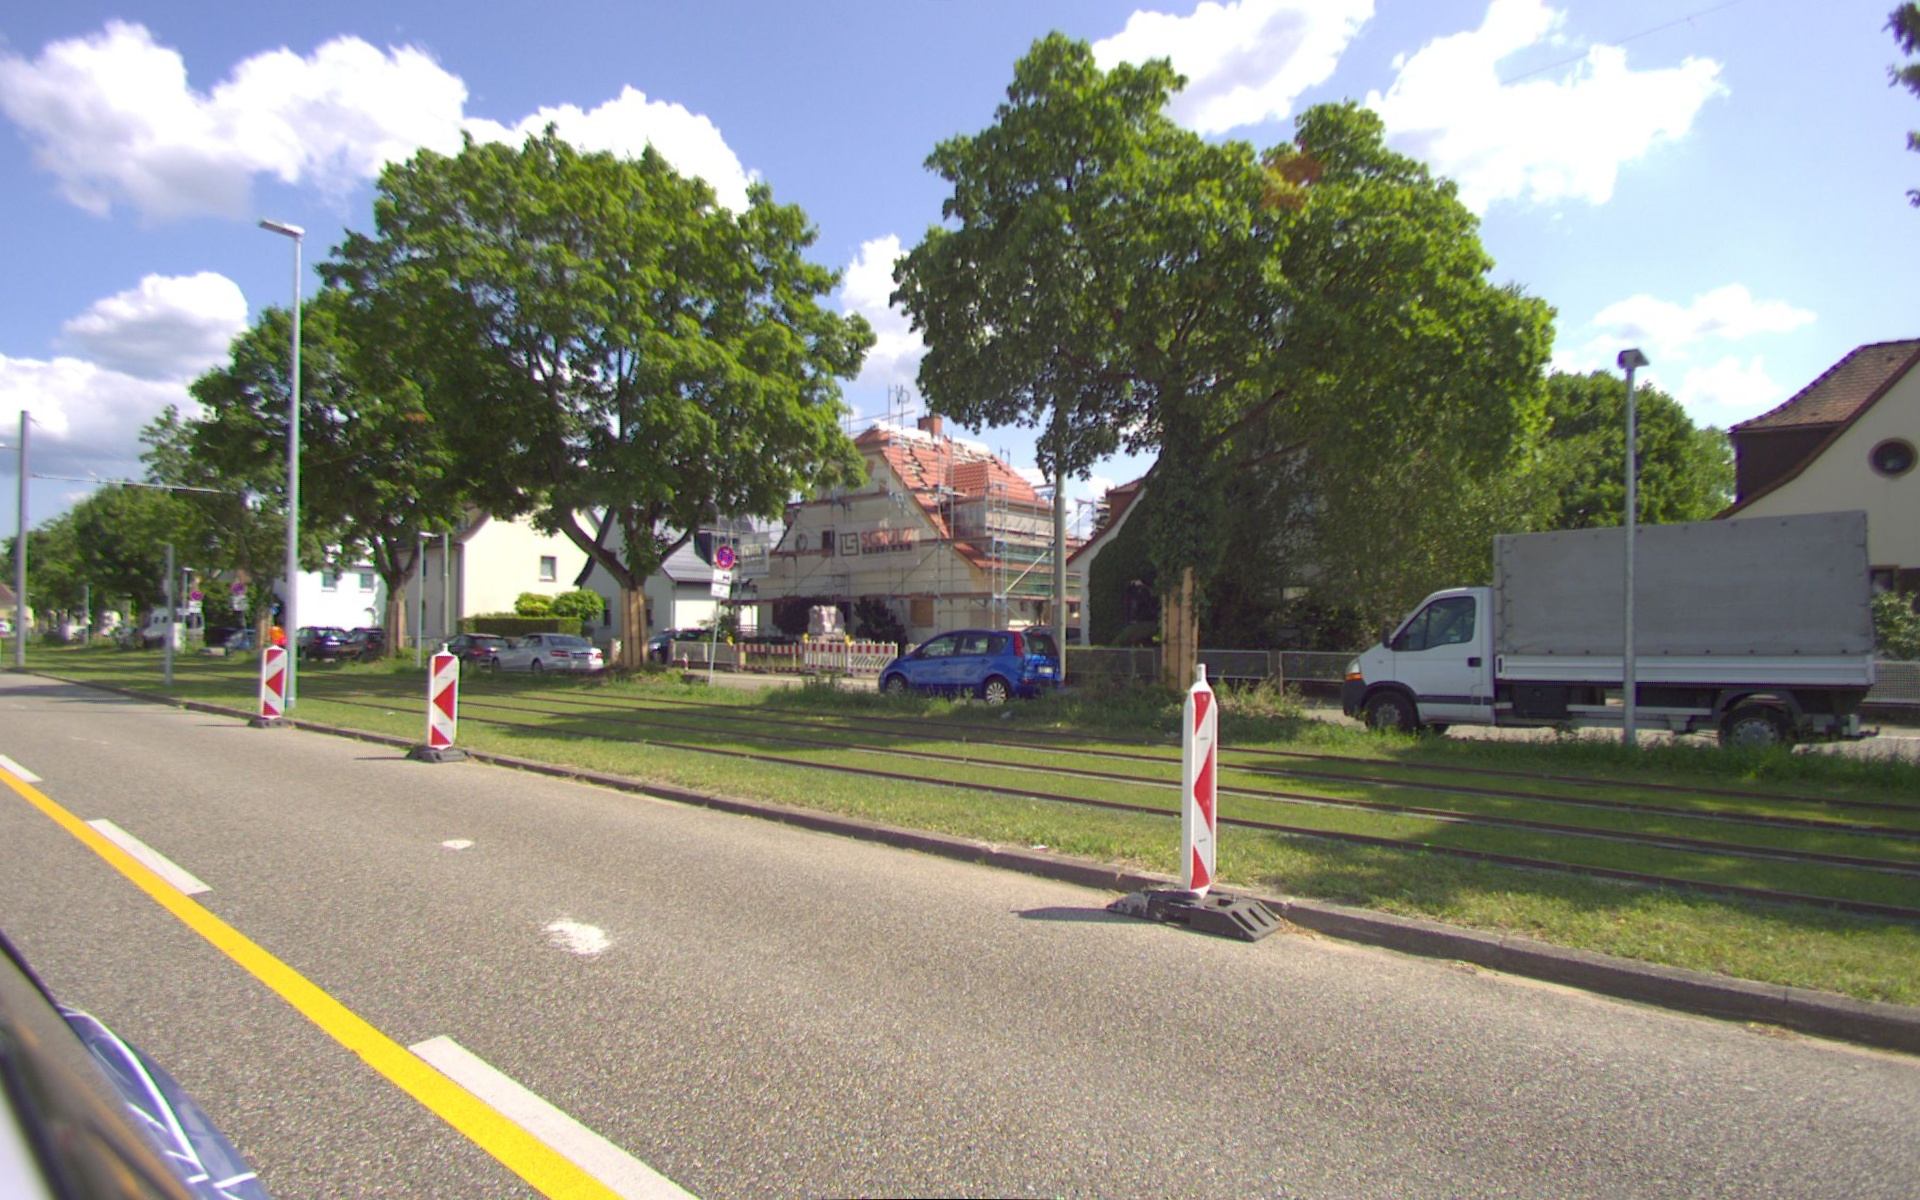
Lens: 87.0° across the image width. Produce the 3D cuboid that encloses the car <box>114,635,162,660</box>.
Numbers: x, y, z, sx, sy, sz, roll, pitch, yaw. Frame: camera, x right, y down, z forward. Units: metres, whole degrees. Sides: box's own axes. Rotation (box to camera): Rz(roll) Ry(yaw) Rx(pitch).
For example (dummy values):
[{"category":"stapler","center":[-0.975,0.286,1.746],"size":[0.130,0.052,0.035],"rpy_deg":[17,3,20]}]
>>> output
[{"category":"car","center":[-57.027,3.269,70.145],"size":[4.603,1.623,1.733],"rpy_deg":[-2,-3,40]}]

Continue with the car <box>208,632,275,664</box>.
[{"category":"car","center":[-37.647,2.469,52.976],"size":[4.603,1.623,1.733],"rpy_deg":[-2,-3,40]}]

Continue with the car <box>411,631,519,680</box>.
[{"category":"car","center":[-17.615,1.915,35.930],"size":[4.603,1.623,1.733],"rpy_deg":[-2,-3,40]}]

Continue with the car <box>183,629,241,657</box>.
[{"category":"car","center":[-44.648,2.553,60.400],"size":[4.603,1.623,1.733],"rpy_deg":[-2,-3,40]}]

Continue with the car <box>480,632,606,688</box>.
[{"category":"car","center":[-13.174,1.830,31.859],"size":[4.603,1.623,1.733],"rpy_deg":[-2,-3,40]}]

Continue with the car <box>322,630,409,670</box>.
[{"category":"car","center":[-25.185,2.074,42.825],"size":[4.603,1.623,1.733],"rpy_deg":[-2,-3,40]}]

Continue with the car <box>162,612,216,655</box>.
[{"category":"car","center":[-48.846,2.107,64.101],"size":[4.603,2.636,1.733],"rpy_deg":[-2,-3,40]}]

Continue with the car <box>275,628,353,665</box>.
[{"category":"car","center":[-29.604,2.099,46.328],"size":[4.603,1.623,1.733],"rpy_deg":[-2,-3,40]}]

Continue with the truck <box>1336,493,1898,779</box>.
[{"category":"truck","center":[8.275,0.464,13.356],"size":[5.871,3.010,1.982],"rpy_deg":[-2,-3,41]}]

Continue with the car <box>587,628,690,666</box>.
[{"category":"car","center":[-14.084,2.047,44.506],"size":[1.756,1.623,3.995],"rpy_deg":[-2,-3,41]}]

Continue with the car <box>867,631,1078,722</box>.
[{"category":"car","center":[0.185,1.442,20.152],"size":[4.047,1.623,1.733],"rpy_deg":[-2,-3,40]}]
